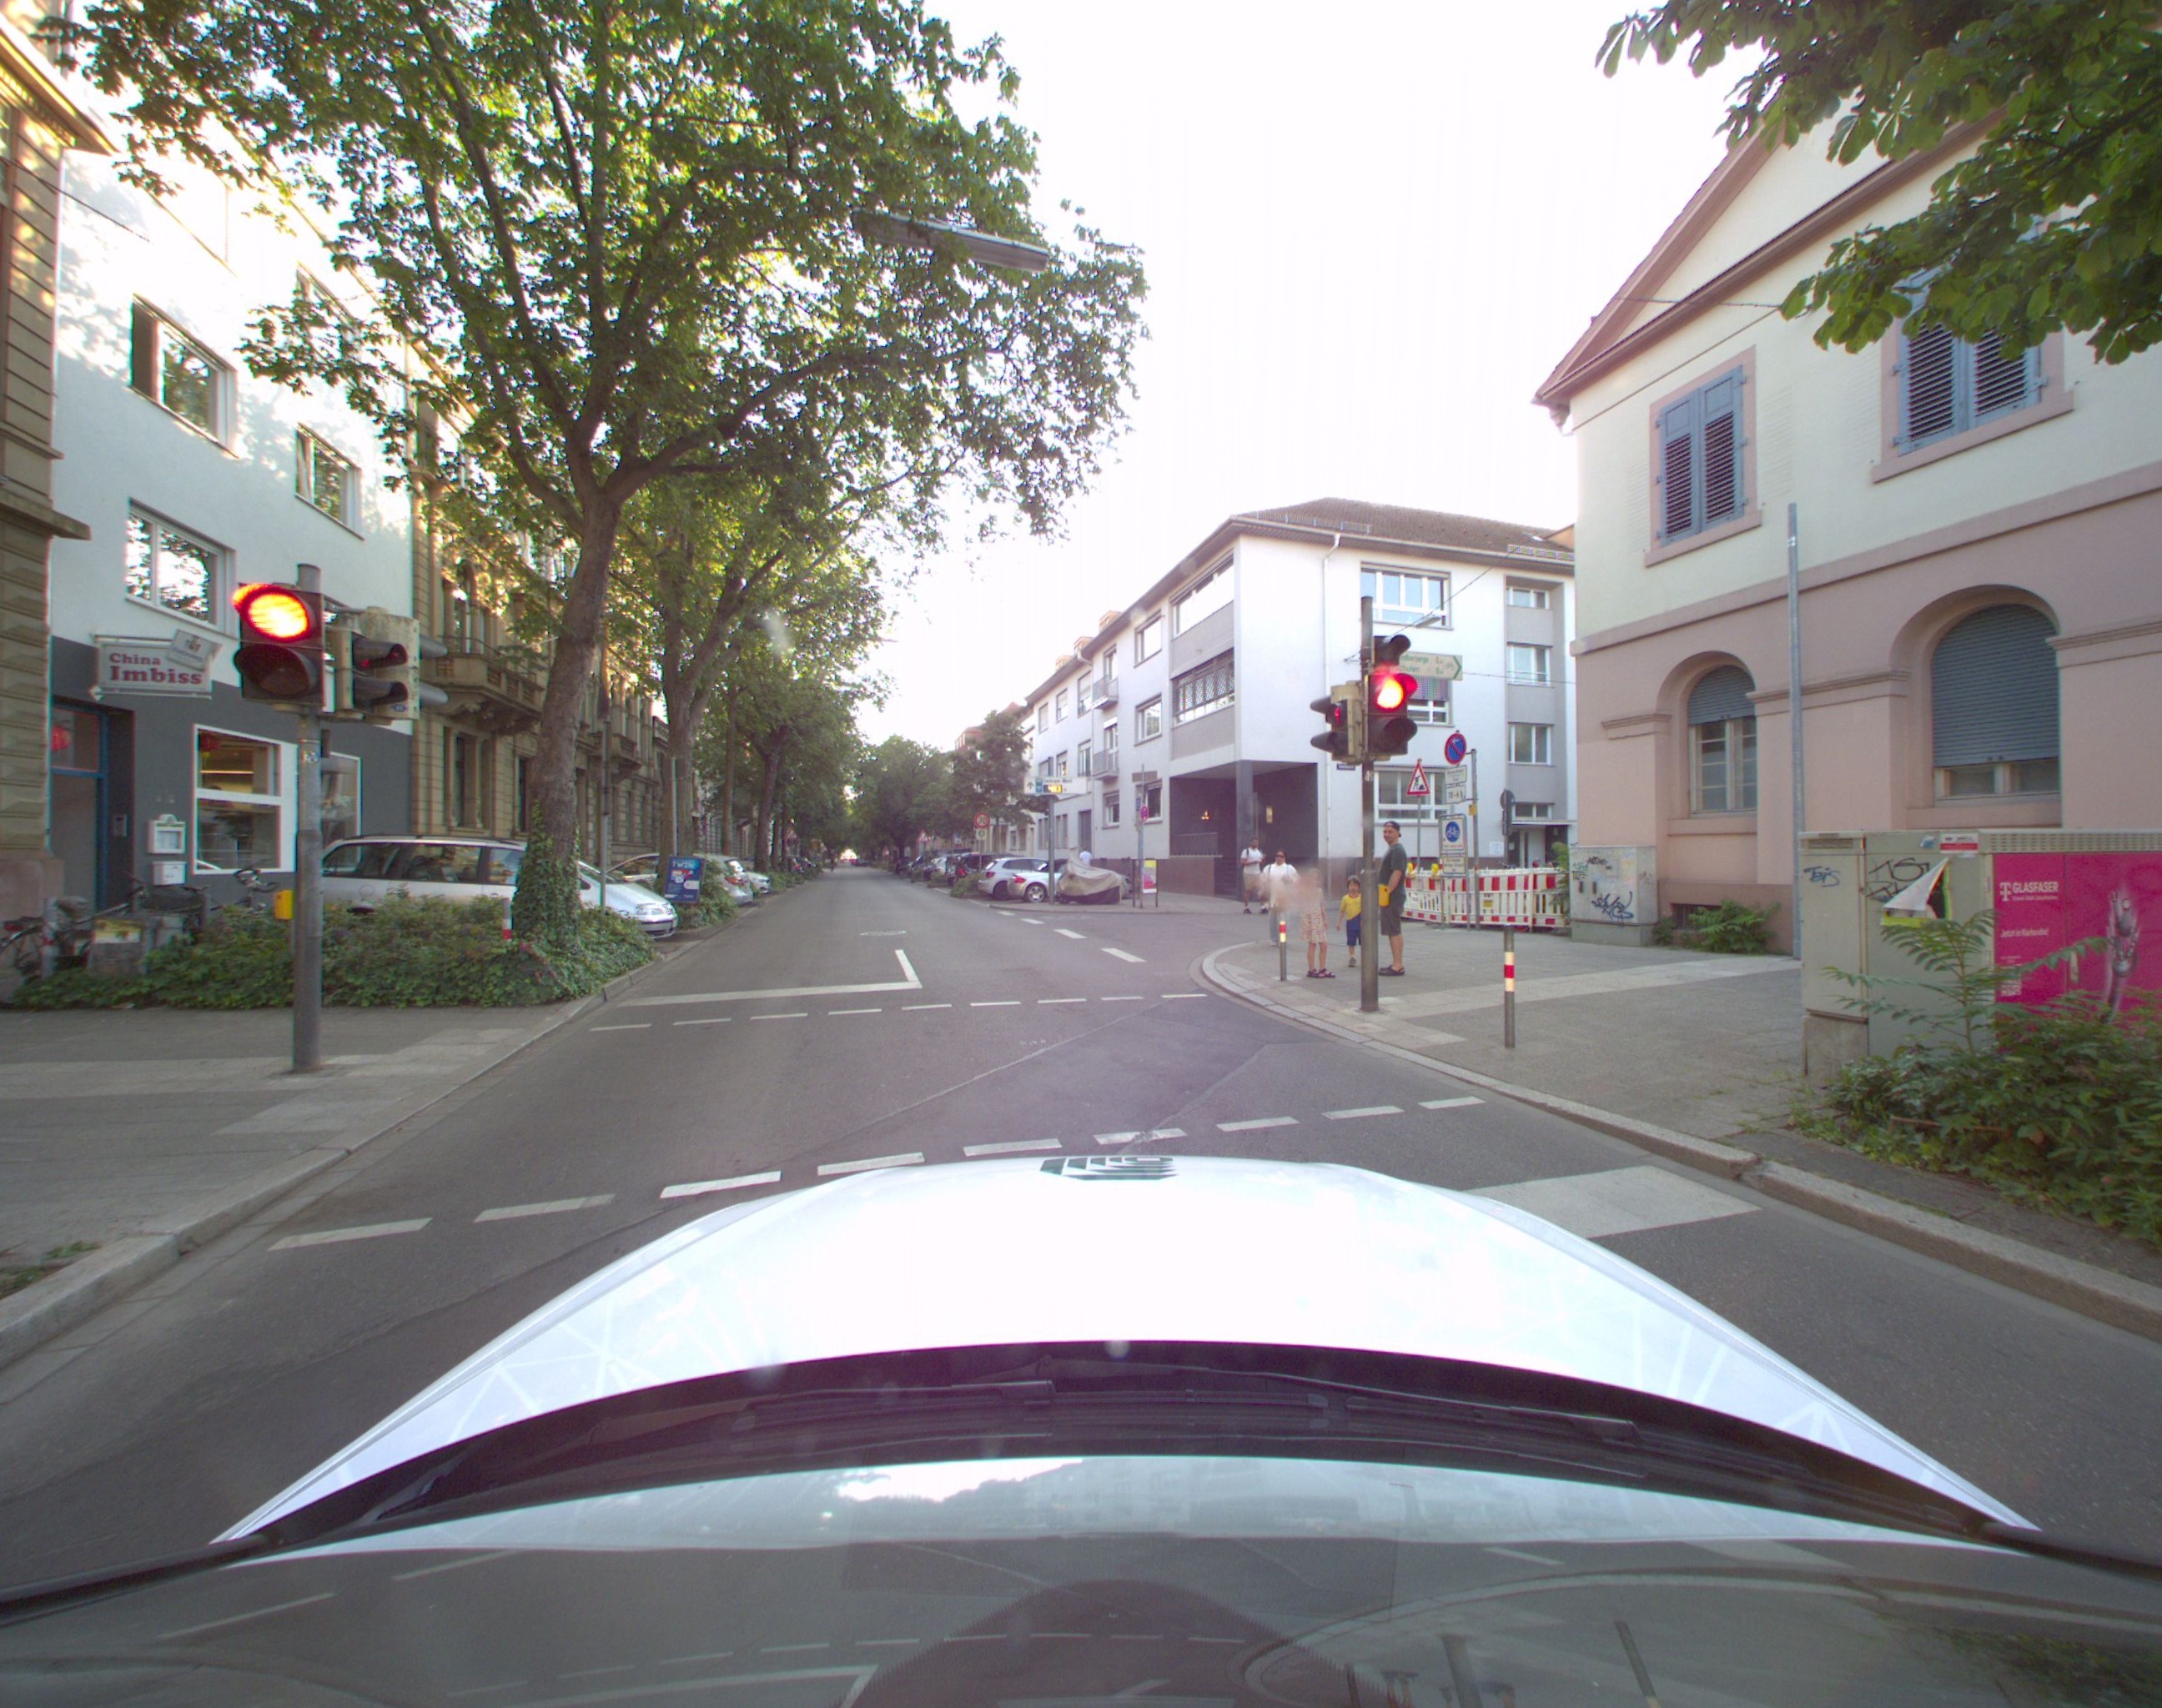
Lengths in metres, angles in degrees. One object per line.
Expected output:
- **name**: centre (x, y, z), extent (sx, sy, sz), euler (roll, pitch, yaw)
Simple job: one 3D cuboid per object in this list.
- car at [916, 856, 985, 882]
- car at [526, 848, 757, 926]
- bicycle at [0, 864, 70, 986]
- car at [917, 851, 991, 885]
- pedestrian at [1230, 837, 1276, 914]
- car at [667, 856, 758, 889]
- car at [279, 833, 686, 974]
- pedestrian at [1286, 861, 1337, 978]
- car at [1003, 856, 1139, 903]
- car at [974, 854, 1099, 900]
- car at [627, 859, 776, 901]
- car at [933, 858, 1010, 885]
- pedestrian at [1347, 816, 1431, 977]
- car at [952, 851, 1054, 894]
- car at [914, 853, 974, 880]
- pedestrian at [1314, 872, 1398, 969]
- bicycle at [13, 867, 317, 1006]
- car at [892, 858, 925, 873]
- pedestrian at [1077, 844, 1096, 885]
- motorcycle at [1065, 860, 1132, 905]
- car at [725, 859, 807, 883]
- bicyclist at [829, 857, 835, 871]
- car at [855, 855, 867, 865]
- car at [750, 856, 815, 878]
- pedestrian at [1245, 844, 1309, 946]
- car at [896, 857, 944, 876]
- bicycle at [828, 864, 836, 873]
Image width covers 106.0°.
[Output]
- **car**: centre (-8.042, 0.883, 50.004), extent (4.023, 1.530, 1.697), euler (0, 0, -17)
- **car**: centre (-10.337, 0.734, 19.547), extent (4.557, 1.689, 1.823), euler (-1, 0, -16)
- **bicycle**: centre (-10.861, 0.710, 7.428), extent (0.637, 1.202, 2.551), euler (-1, 0, -14)
- **car**: centre (-7.370, 0.794, 47.197), extent (4.023, 1.815, 1.697), euler (-1, 0, -17)
- **pedestrian**: centre (4.245, 0.511, 20.121), extent (0.768, 1.841, 0.938), euler (0, 0, -15)
- **car**: centre (-19.122, 0.944, 42.426), extent (4.047, 1.590, 1.823), euler (-1, 0, -16)
- **car**: centre (-8.616, 0.634, 12.266), extent (4.562, 1.835, 1.821), euler (-1, 0, -19)
- **pedestrian**: centre (2.701, 0.752, 9.584), extent (0.502, 1.336, 0.542), euler (0, 0, 7)
- **car**: centre (-0.348, 0.776, 25.890), extent (4.022, 1.342, 1.698), euler (-1, 0, -16)
- **car**: centre (-1.560, 0.764, 28.221), extent (4.023, 1.442, 1.697), euler (-1, 0, -17)
- **car**: centre (-13.507, 0.910, 29.279), extent (4.557, 1.372, 1.823), euler (-1, 0, -16)
- **car**: centre (-6.083, 0.946, 45.217), extent (4.023, 1.409, 1.697), euler (-1, 0, -17)
- **pedestrian**: centre (3.643, 0.472, 9.679), extent (0.881, 1.815, 0.798), euler (-1, 2, 18)
- **car**: centre (-3.305, 0.737, 34.348), extent (4.023, 1.690, 1.697), euler (-1, 0, -17)
- **car**: centre (-9.629, 0.845, 57.075), extent (4.023, 1.830, 1.697), euler (0, 0, -17)
- **pedestrian**: centre (3.465, 0.814, 10.284), extent (0.568, 1.121, 0.830), euler (-2, 1, -27)
- **bicycle**: centre (-9.232, 0.742, 8.438), extent (0.735, 1.186, 2.621), euler (1, -1, -15)
- **car**: centre (-21.801, 1.470, 102.927), extent (4.023, 1.830, 1.697), euler (0, 0, -17)
- **pedestrian**: centre (0.219, 0.463, 35.691), extent (0.704, 1.752, 0.696), euler (0, 0, -12)
- **motorcycle**: centre (0.487, 0.785, 22.790), extent (1.798, 1.199, 0.611), euler (-1, 0, -7)
- **car**: centre (-19.598, 1.041, 50.827), extent (4.557, 1.410, 1.823), euler (-1, 0, -16)
- **bicyclist**: centre (-25.267, 1.022, 82.629), extent (0.573, 1.470, 0.638), euler (1, -1, -22)
- **car**: centre (-37.179, 1.002, 137.747), extent (1.829, 1.561, 4.004), euler (1, -1, -17)
- **car**: centre (-22.938, 0.976, 62.717), extent (4.557, 1.691, 1.823), euler (0, 0, -16)
- **pedestrian**: centre (3.038, 0.615, 12.573), extent (0.767, 1.501, 0.806), euler (-2, -1, 25)
- **car**: centre (-13.639, 1.088, 69.208), extent (3.979, 1.578, 1.903), euler (1, -1, -11)
- **bicycle**: centre (-25.276, 1.493, 82.642), extent (0.573, 0.949, 1.731), euler (0, -1, -22)
